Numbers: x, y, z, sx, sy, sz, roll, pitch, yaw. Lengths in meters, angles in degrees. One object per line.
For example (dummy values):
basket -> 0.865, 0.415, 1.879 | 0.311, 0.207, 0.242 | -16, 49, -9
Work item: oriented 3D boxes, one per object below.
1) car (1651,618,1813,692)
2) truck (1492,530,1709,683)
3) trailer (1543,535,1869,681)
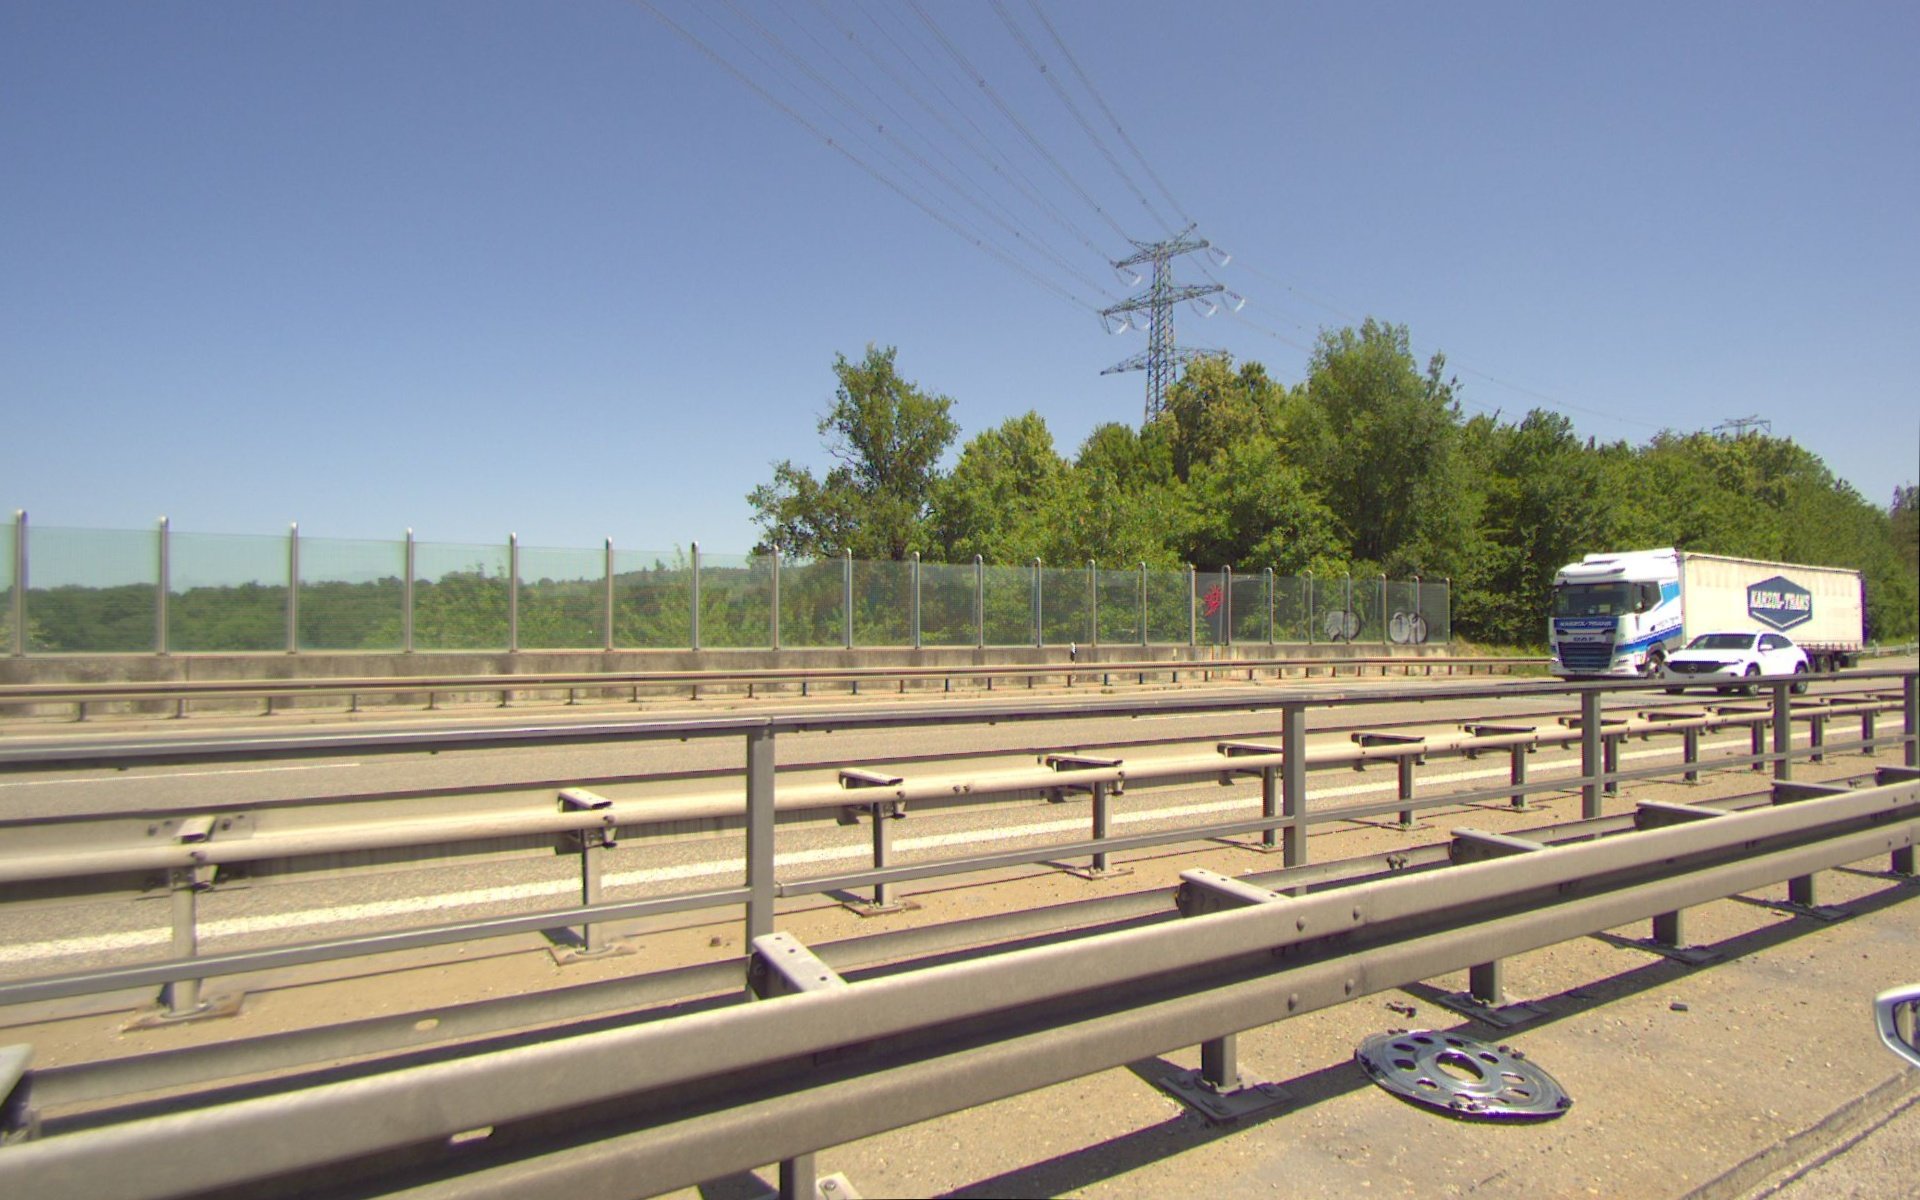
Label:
car -> 19.401, 1.371, 25.201 | 4.334, 1.718, 1.741 | 2, -3, -31
truck -> 19.796, 0.295, 31.125 | 4.803, 4.284, 3.986 | 2, -2, -31
trailer -> 26.190, 0.539, 34.891 | 13.877, 4.290, 3.971 | 2, -3, -31
